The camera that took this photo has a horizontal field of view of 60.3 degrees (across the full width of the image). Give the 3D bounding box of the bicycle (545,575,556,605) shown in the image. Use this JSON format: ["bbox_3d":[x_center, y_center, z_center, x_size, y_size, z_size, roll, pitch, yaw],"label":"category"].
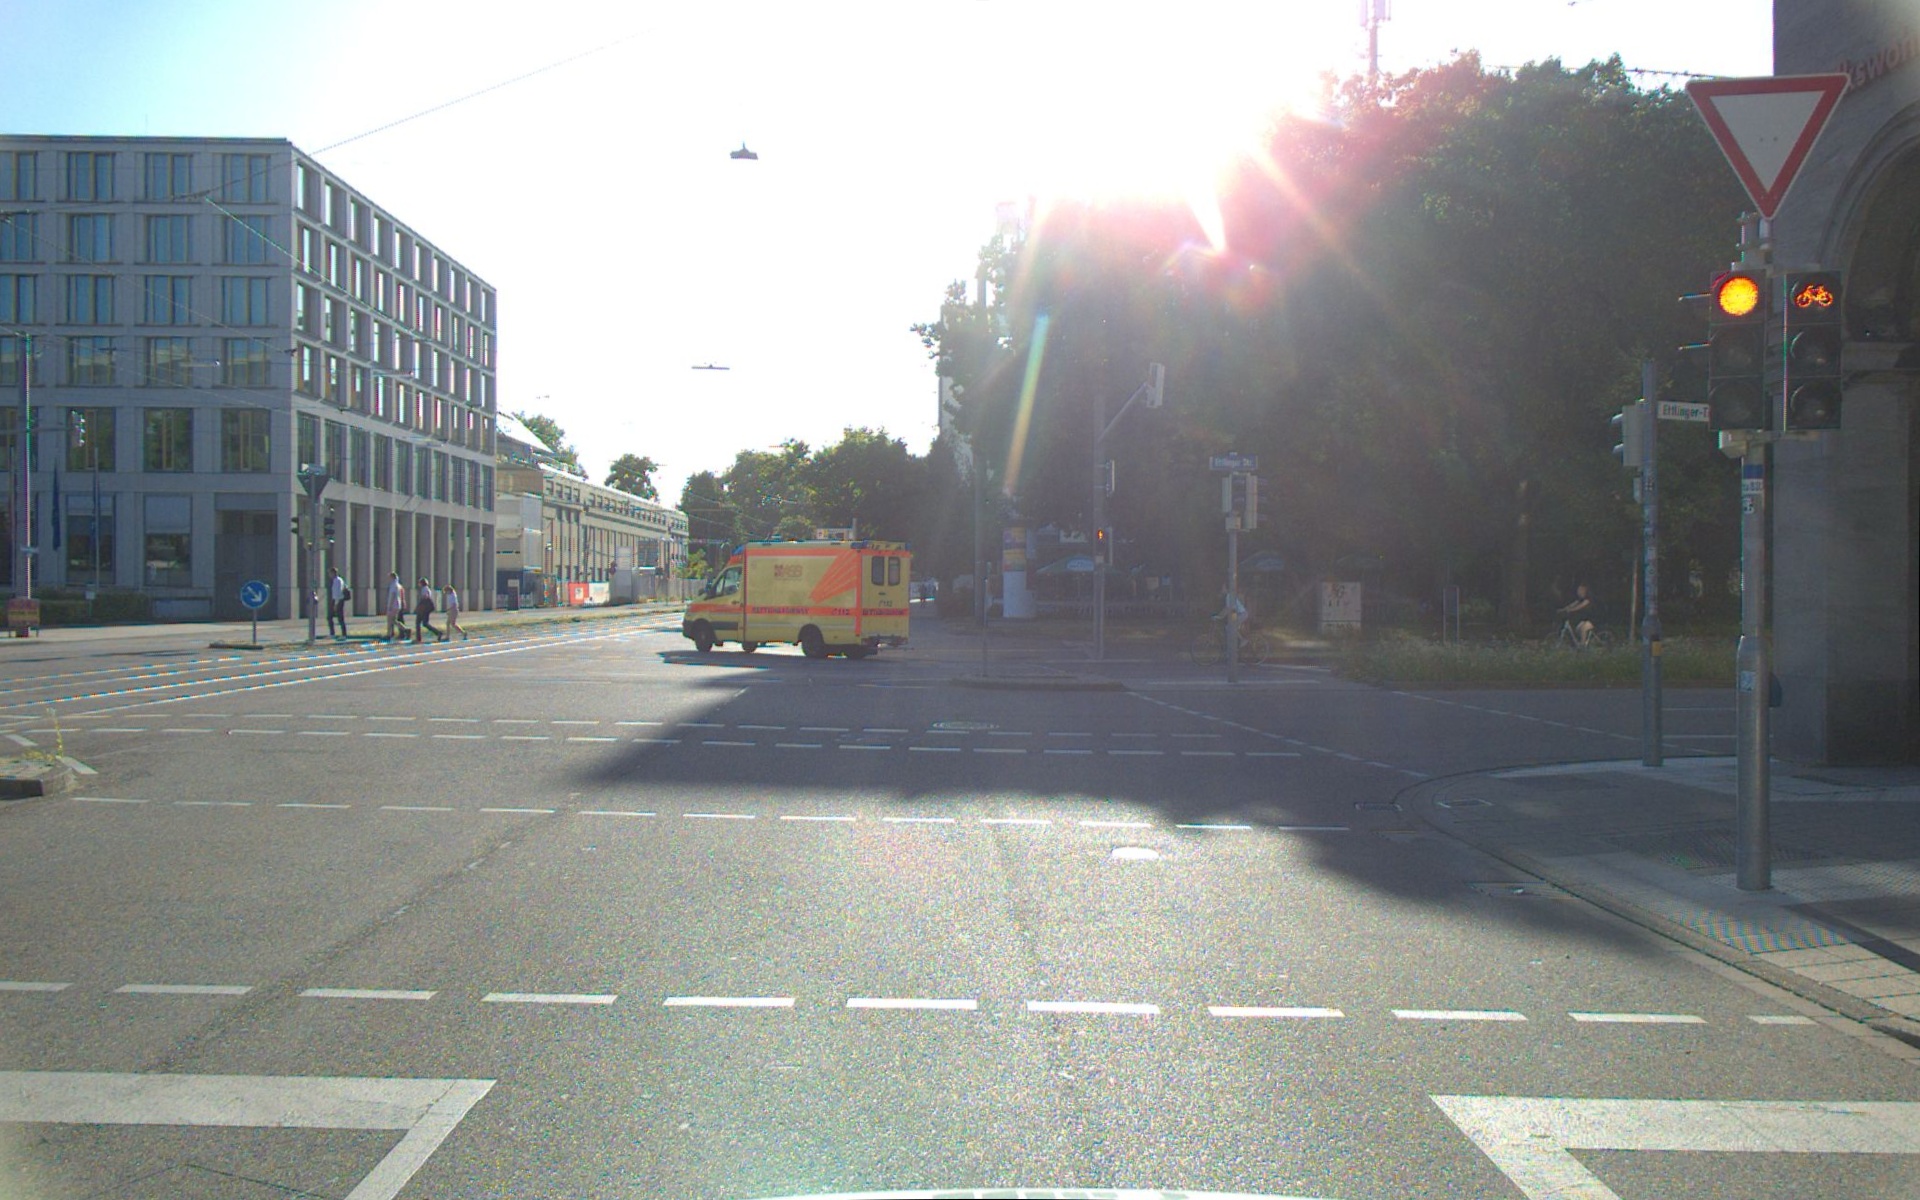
[{"bbox_3d":[-32.164,-0.759,129.808,0.559,2.336,1.422,0,0,-2],"label":"bicycle"}]

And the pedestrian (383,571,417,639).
[{"bbox_3d":[-15.286,0.133,45.178,0.723,1.835,0.532,0,0,4],"label":"pedestrian"}]

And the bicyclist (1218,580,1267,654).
[{"bbox_3d":[6.139,0.368,35.928,0.955,1.587,0.574,0,0,-1],"label":"bicyclist"}]

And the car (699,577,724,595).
[{"bbox_3d":[-23.383,-1.314,156.048,1.856,1.635,4.498,0,0,-3],"label":"car"}]

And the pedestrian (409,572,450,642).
[{"bbox_3d":[-14.053,0.188,43.827,0.852,1.835,0.664,0,0,4],"label":"pedestrian"}]

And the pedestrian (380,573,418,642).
[{"bbox_3d":[-14.997,0.202,44.200,0.723,1.835,0.716,0,0,4],"label":"pedestrian"}]

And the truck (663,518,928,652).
[{"bbox_3d":[-4.135,-0.358,41.050,6.356,3.068,2.716,0,0,34],"label":"truck"}]

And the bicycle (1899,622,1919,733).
[{"bbox_3d":[11.393,0.863,18.022,1.833,1.178,0.767,0,3,6],"label":"bicycle"}]

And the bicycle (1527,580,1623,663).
[{"bbox_3d":[13.365,0.465,35.956,1.857,1.765,0.597,0,0,3],"label":"bicycle"}]

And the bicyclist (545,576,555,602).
[{"bbox_3d":[-32.162,-0.863,129.754,0.559,2.059,0.761,0,0,-2],"label":"bicyclist"}]

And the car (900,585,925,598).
[{"bbox_3d":[-6.075,-1.139,213.329,3.152,1.616,1.445,1,0,-5],"label":"car"}]

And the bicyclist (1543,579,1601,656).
[{"bbox_3d":[13.292,0.375,35.960,1.052,1.669,0.597,0,0,3],"label":"bicyclist"}]

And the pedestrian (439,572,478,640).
[{"bbox_3d":[-13.589,0.164,44.813,0.851,1.835,0.532,0,0,4],"label":"pedestrian"}]

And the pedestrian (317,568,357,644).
[{"bbox_3d":[-16.296,0.158,43.288,0.785,1.951,0.637,0,0,4],"label":"pedestrian"}]

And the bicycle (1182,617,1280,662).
[{"bbox_3d":[5.880,0.860,35.905,2.023,0.949,0.574,0,0,-2],"label":"bicycle"}]

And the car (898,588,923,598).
[{"bbox_3d":[-6.262,-0.871,211.073,3.152,1.285,1.373,1,0,-1],"label":"car"}]
